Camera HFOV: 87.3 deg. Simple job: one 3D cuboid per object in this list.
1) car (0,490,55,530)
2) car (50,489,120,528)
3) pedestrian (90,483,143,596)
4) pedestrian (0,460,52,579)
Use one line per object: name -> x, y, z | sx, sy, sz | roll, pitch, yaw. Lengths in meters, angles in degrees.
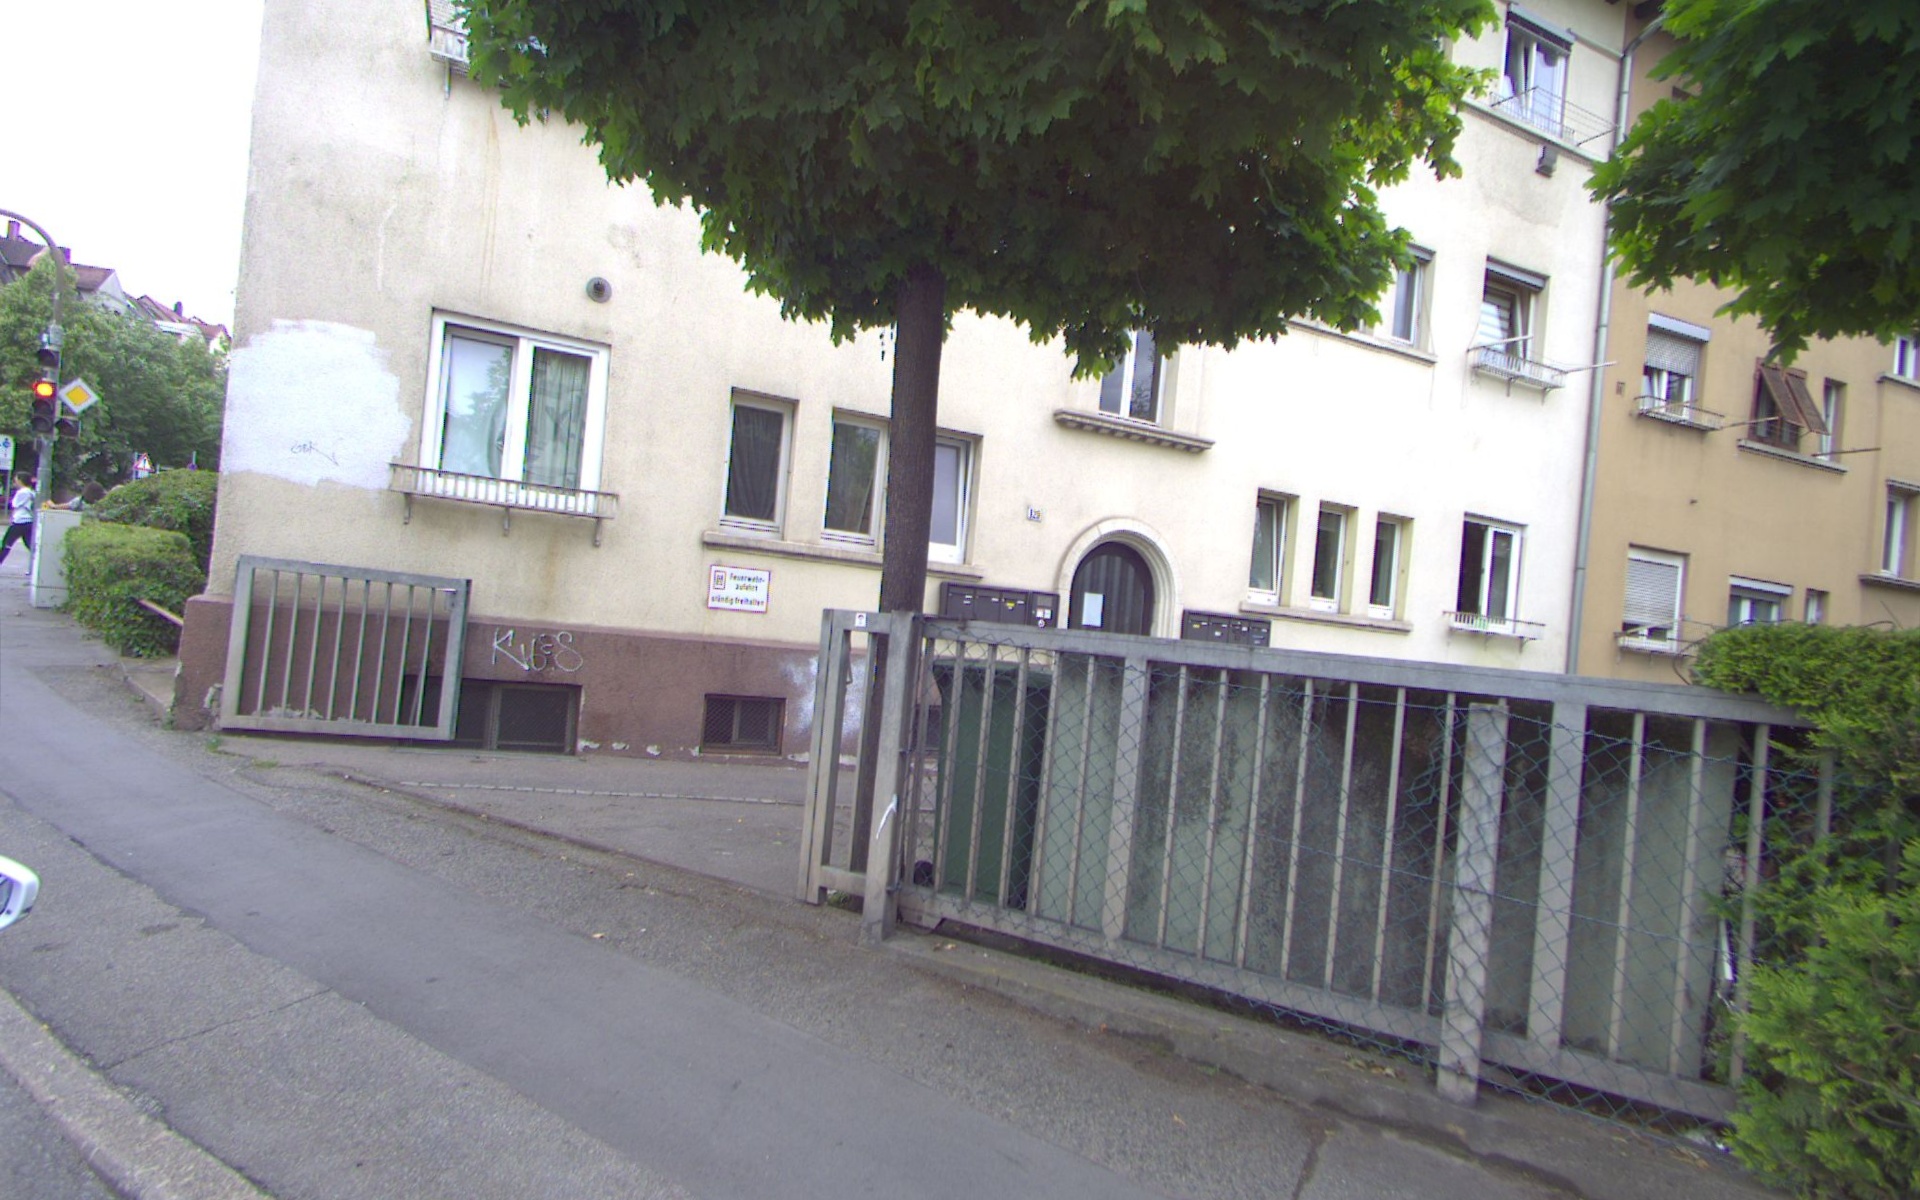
car -> -60.967, -5.877, 64.936 | 1.970, 2.036, 3.992 | 8, -3, -15
car -> -62.491, -6.481, 71.901 | 1.970, 2.036, 3.992 | 8, -3, -15
pedestrian -> -14.460, -1.037, 17.253 | 0.462, 1.857, 0.320 | 9, -2, -44
pedestrian -> -15.521, -1.323, 16.527 | 0.521, 1.840, 0.590 | 6, -2, 34
